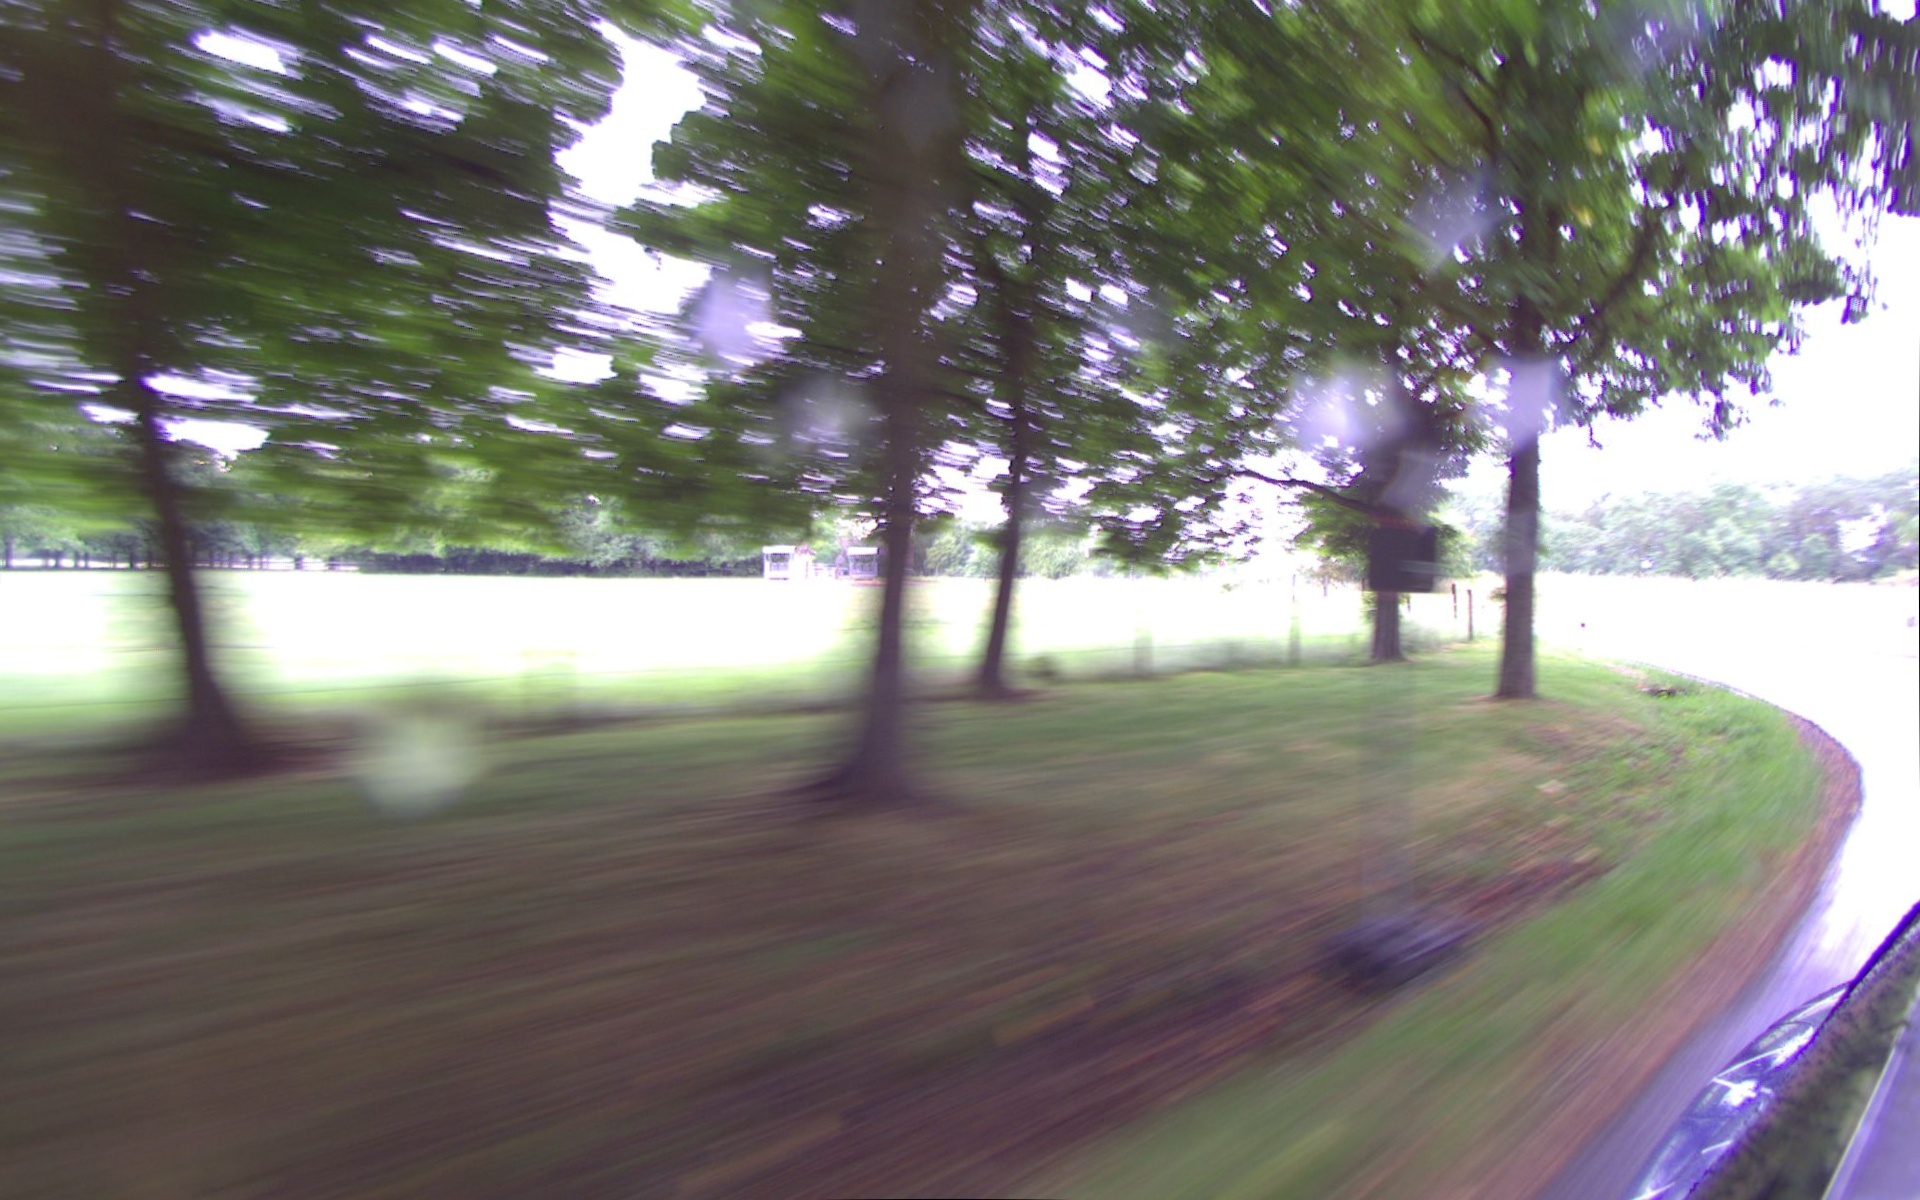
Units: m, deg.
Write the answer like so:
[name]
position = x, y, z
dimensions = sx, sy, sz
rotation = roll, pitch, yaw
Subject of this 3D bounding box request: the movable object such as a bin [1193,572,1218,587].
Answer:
[movable object such as a bin]
position = 27.602, -2.317, 113.678
dimensions = 1.651, 1.590, 3.543
rotation = 1, 2, -4
